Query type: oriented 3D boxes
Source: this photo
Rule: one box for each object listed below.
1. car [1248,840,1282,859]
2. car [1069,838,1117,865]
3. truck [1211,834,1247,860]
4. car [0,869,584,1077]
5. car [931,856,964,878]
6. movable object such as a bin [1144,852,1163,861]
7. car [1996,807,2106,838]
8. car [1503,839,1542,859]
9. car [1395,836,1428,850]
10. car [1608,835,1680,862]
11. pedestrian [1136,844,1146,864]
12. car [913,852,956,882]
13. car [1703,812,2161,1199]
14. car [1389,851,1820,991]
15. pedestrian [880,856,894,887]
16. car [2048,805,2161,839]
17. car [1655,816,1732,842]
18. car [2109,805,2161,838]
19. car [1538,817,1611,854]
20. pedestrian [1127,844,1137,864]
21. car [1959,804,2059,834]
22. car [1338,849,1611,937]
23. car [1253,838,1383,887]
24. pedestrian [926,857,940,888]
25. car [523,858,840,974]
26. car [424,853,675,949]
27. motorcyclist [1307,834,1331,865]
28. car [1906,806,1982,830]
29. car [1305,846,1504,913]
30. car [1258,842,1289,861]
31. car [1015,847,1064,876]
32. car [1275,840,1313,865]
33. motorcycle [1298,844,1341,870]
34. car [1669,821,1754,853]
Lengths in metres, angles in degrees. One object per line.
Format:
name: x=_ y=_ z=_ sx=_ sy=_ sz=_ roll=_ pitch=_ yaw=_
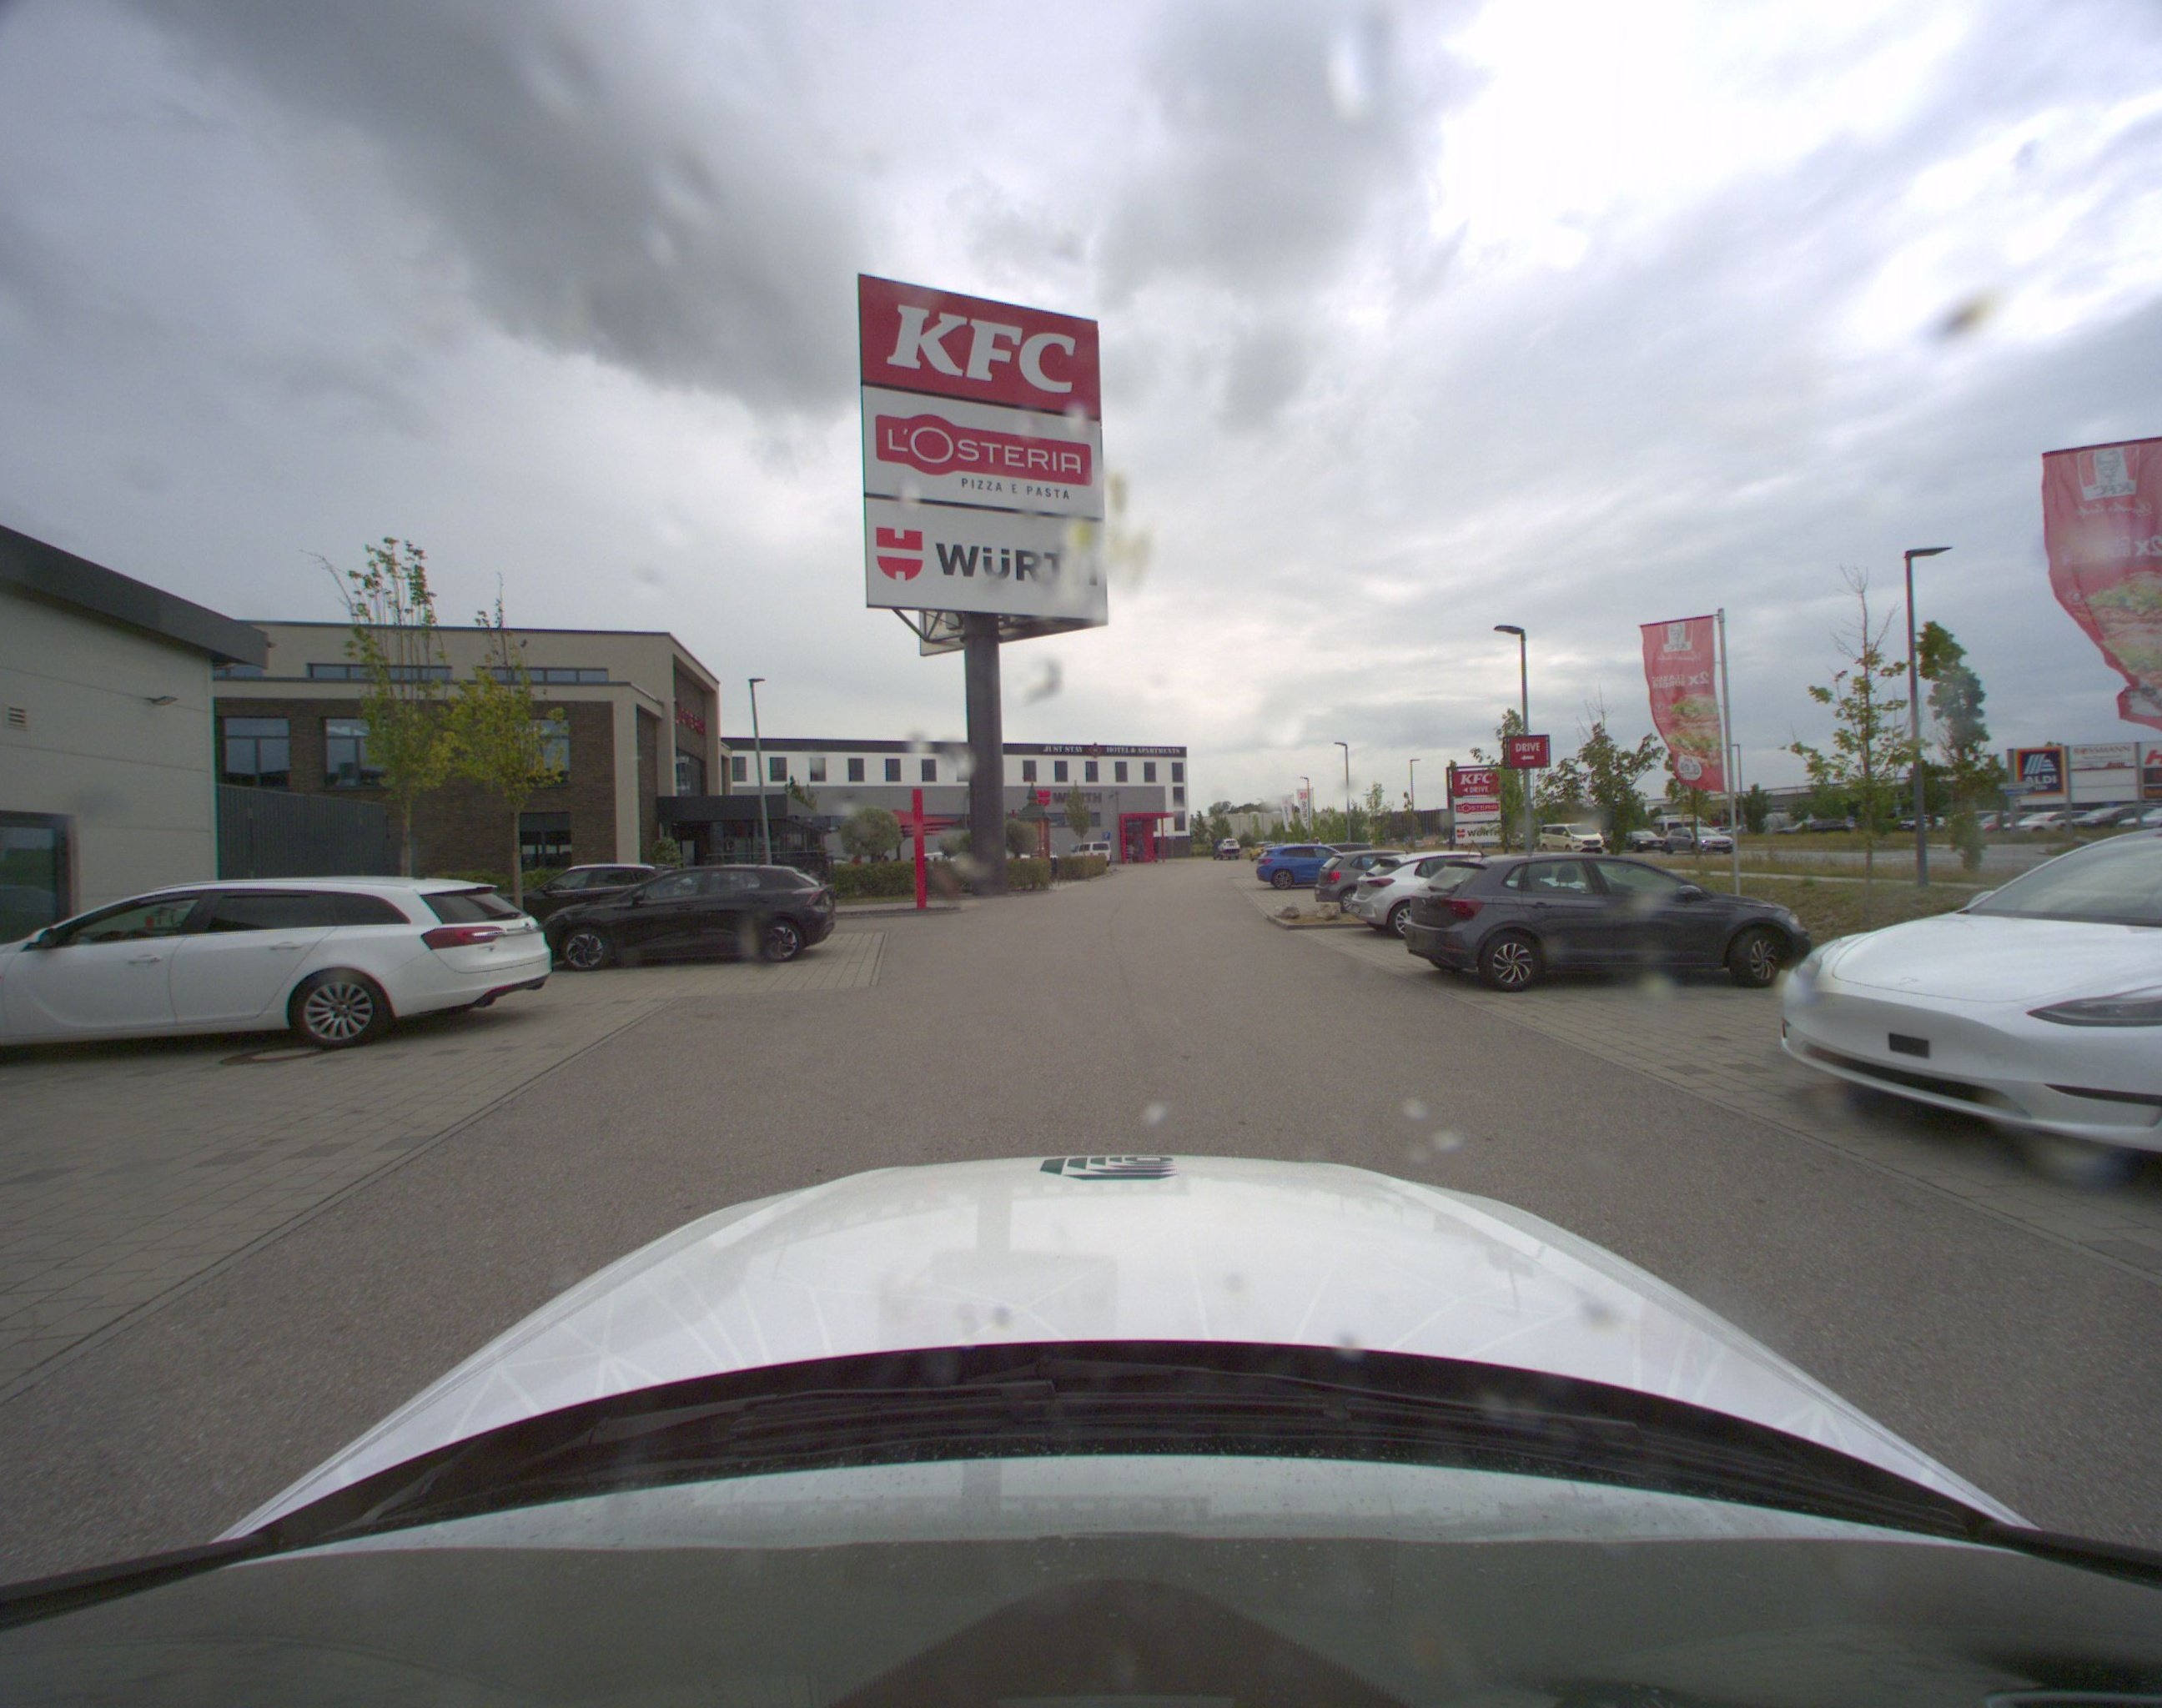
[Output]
car: x=16.105 y=-0.364 z=71.501 sx=1.852 sy=1.650 sz=3.995 roll=-1 pitch=0 yaw=-3
car: x=0.930 y=-0.153 z=65.246 sx=2.066 sy=1.855 sz=4.027 roll=-7 pitch=1 yaw=-25
truck: x=15.915 y=-0.734 z=88.109 sx=2.324 sy=2.407 sz=7.893 roll=-1 pitch=-2 yaw=0
car: x=-7.453 y=0.980 z=7.721 sx=4.168 sy=1.486 sz=1.992 roll=-2 pitch=0 yaw=-12
car: x=-10.190 y=1.000 z=61.971 sx=1.742 sy=1.552 sz=4.235 roll=-4 pitch=0 yaw=-19
movable object such as a bin: x=6.565 y=0.216 z=73.555 sx=1.491 sy=0.703 sz=0.960 roll=-1 pitch=0 yaw=-16
car: x=57.099 y=-1.840 z=48.002 sx=4.043 sy=1.501 sz=1.867 roll=-4 pitch=0 yaw=3
car: x=32.494 y=-0.382 z=60.002 sx=1.453 sy=1.336 sz=3.170 roll=-2 pitch=0 yaw=8
car: x=40.605 y=-1.321 z=100.128 sx=1.793 sy=1.552 sz=4.847 roll=-4 pitch=0 yaw=-4
car: x=34.522 y=-0.329 z=50.071 sx=1.840 sy=1.499 sz=4.294 roll=-2 pitch=0 yaw=7
pedestrian: x=5.396 y=-0.028 z=73.359 sx=0.678 sy=1.802 sz=0.876 roll=0 pitch=0 yaw=-15
car: x=-8.990 y=0.797 z=49.637 sx=1.999 sy=1.650 sz=4.551 roll=-4 pitch=0 yaw=-17
car: x=6.232 y=0.579 z=4.290 sx=4.519 sy=1.541 sz=1.924 roll=-1 pitch=0 yaw=-2
car: x=5.700 y=0.687 z=9.253 sx=3.781 sy=1.412 sz=1.739 roll=-1 pitch=0 yaw=2
pedestrian: x=-7.622 y=0.691 z=32.043 sx=0.419 sy=1.199 sz=0.455 roll=-4 pitch=0 yaw=-7
car: x=56.127 y=-1.752 z=44.586 sx=4.029 sy=1.539 sz=2.000 roll=-4 pitch=0 yaw=-1
car: x=60.147 y=-2.466 z=80.126 sx=5.546 sy=2.121 sz=2.346 roll=-4 pitch=0 yaw=8
car: x=55.847 y=-1.727 z=41.625 sx=4.029 sy=1.539 sz=2.000 roll=-4 pitch=0 yaw=-1
car: x=31.313 y=-1.172 z=51.849 sx=1.983 sy=2.086 sz=5.242 roll=-3 pitch=1 yaw=7
pedestrian: x=4.597 y=-0.019 z=73.398 sx=0.624 sy=1.751 sz=0.902 roll=-2 pitch=0 yaw=-10
car: x=57.466 y=-2.140 z=50.495 sx=4.029 sy=1.539 sz=1.907 roll=-4 pitch=0 yaw=-1
car: x=6.717 y=0.645 z=14.261 sx=3.909 sy=1.412 sz=1.842 roll=-1 pitch=0 yaw=3
car: x=8.251 y=0.293 z=28.697 sx=4.177 sy=1.544 sz=1.869 roll=-2 pitch=0 yaw=8
pedestrian: x=-5.800 y=0.722 z=31.969 sx=0.419 sy=1.199 sz=0.455 roll=-4 pitch=0 yaw=-7
car: x=-6.019 y=0.889 z=12.777 sx=4.113 sy=1.528 sz=1.734 roll=-1 pitch=0 yaw=-12
car: x=-10.952 y=0.911 z=17.132 sx=3.998 sy=1.596 sz=1.726 roll=-4 pitch=0 yaw=-18
motorcyclist: x=11.929 y=-0.220 z=40.817 sx=0.934 sy=1.489 sz=0.831 roll=-3 pitch=0 yaw=5
car: x=76.365 y=-3.157 z=72.181 sx=1.994 sy=1.837 sz=4.172 roll=-4 pitch=0 yaw=-10
car: x=7.366 y=0.561 z=18.878 sx=3.966 sy=1.428 sz=1.731 roll=-1 pitch=0 yaw=6
car: x=15.368 y=-0.212 z=65.127 sx=1.743 sy=1.469 sz=4.113 roll=-2 pitch=0 yaw=5
car: x=-2.683 y=0.481 z=52.003 sx=1.999 sy=1.650 sz=4.551 roll=-4 pitch=0 yaw=-17
car: x=13.854 y=-0.105 z=53.180 sx=1.742 sy=1.469 sz=4.485 roll=-2 pitch=0 yaw=7
motorcycle: x=11.937 y=0.157 z=40.821 sx=1.906 sy=1.208 sz=0.796 roll=-3 pitch=0 yaw=4
car: x=33.025 y=-0.884 z=42.782 sx=1.813 sy=1.459 sz=4.011 roll=-4 pitch=0 yaw=10
